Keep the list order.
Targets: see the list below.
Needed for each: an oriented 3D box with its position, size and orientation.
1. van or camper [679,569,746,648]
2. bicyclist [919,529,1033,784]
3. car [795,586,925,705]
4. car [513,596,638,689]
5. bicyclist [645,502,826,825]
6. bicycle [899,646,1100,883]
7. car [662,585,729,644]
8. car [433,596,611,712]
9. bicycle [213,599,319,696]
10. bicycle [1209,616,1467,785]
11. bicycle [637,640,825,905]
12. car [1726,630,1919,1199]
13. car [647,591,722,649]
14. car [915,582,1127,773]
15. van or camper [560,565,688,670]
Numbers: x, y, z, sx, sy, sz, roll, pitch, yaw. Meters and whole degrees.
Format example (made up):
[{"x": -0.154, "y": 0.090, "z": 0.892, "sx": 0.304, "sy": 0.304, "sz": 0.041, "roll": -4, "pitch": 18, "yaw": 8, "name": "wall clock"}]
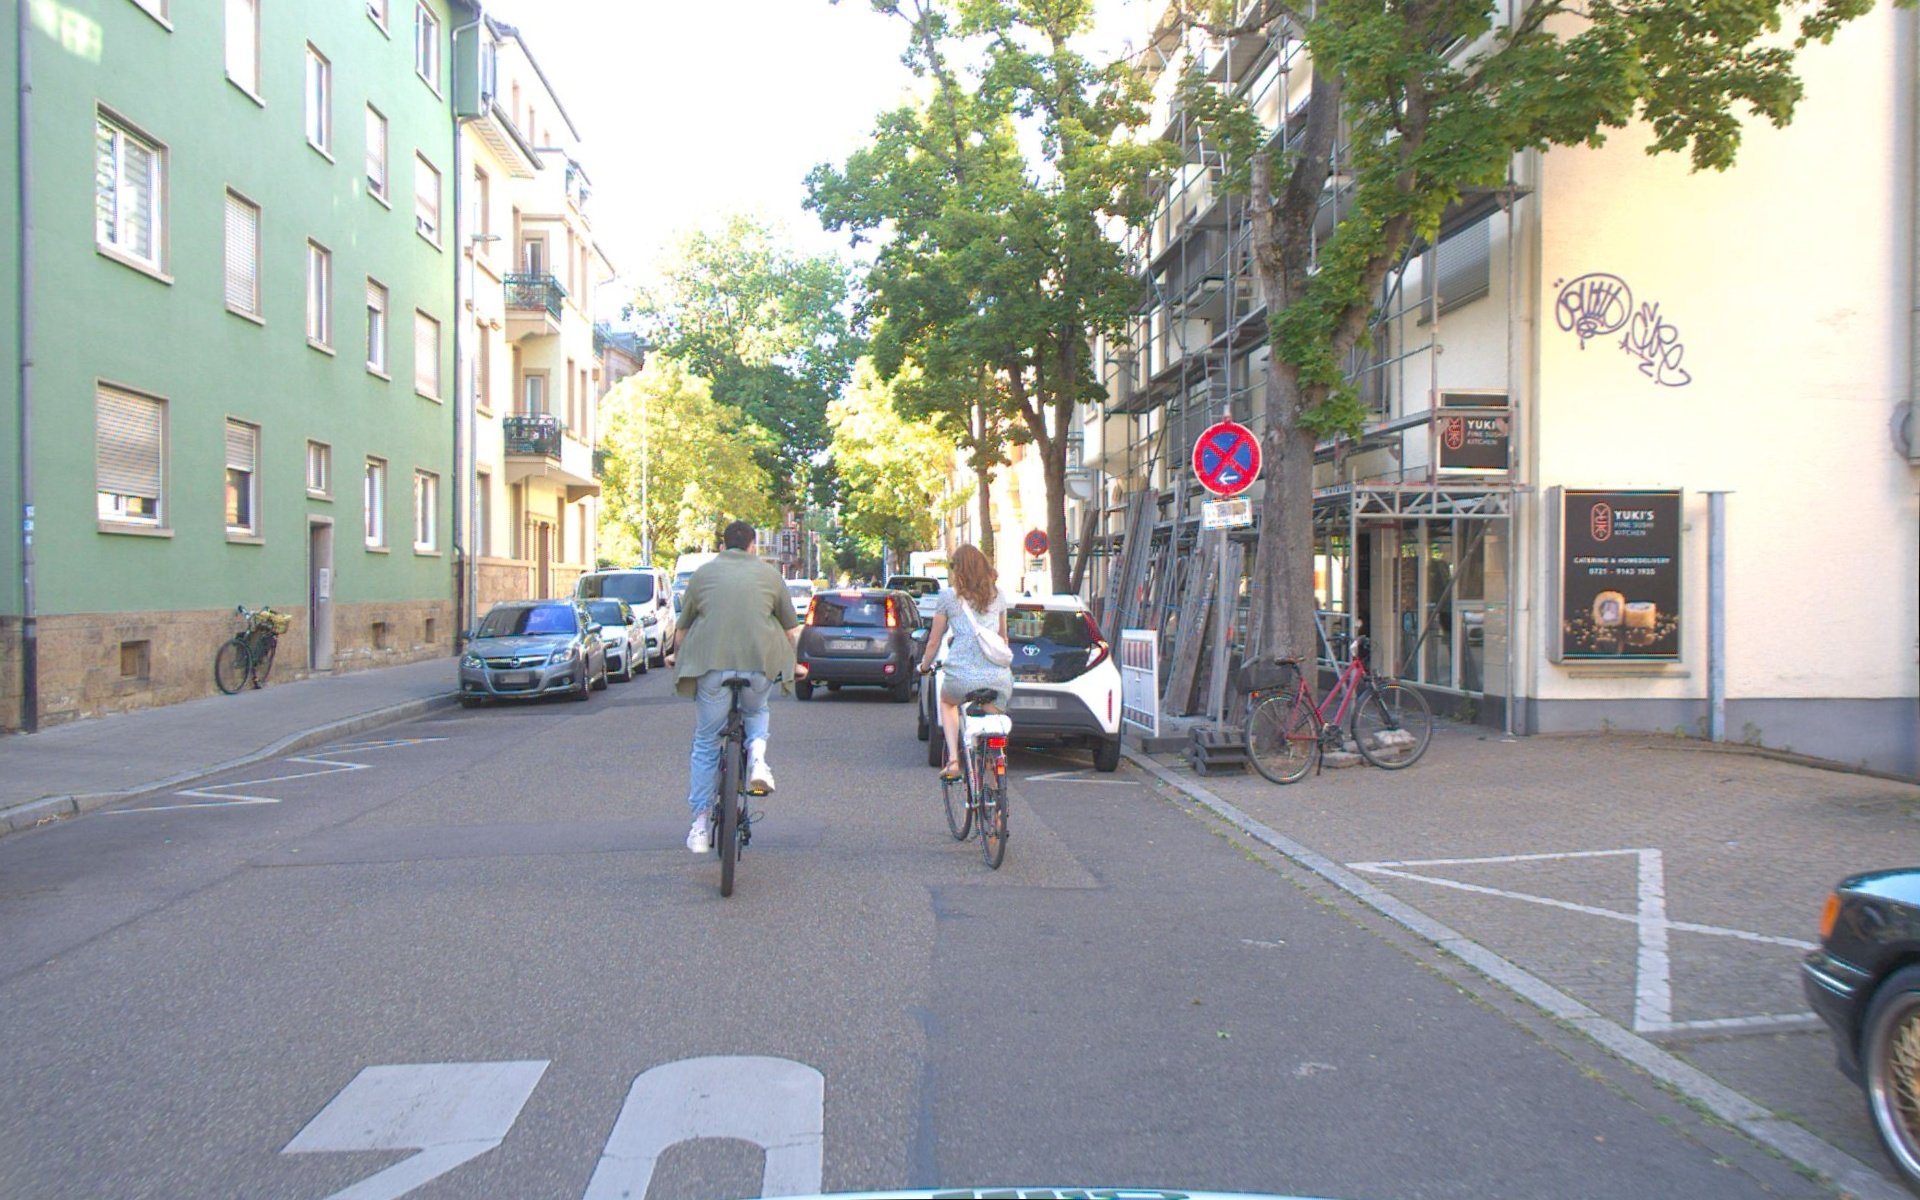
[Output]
[{"x": -8.455, "y": 0.240, "z": 56.798, "sx": 1.955, "sy": 2.597, "sz": 5.018, "roll": 0, "pitch": 1, "yaw": -5, "name": "van or camper"}, {"x": 0.074, "y": 0.338, "z": 9.579, "sx": 0.610, "sy": 1.405, "sz": 0.867, "roll": -1, "pitch": -4, "yaw": -2, "name": "bicyclist"}, {"x": -1.359, "y": 0.588, "z": 23.621, "sx": 1.524, "sy": 1.559, "sz": 3.487, "roll": -1, "pitch": 1, "yaw": 2, "name": "car"}, {"x": -6.715, "y": 0.696, "z": 29.193, "sx": 1.654, "sy": 1.479, "sz": 3.706, "roll": -1, "pitch": 1, "yaw": -5, "name": "car"}, {"x": -1.150, "y": 0.330, "z": 8.634, "sx": 0.864, "sy": 1.589, "sz": 0.867, "roll": 0, "pitch": -3, "yaw": -3, "name": "bicyclist"}, {"x": 0.170, "y": 0.892, "z": 9.725, "sx": 0.823, "sy": 1.169, "sz": 2.229, "roll": 3, "pitch": -1, "yaw": -7, "name": "bicycle"}, {"x": -8.056, "y": 0.398, "z": 50.637, "sx": 1.677, "sy": 1.729, "sz": 3.997, "roll": 0, "pitch": 1, "yaw": -4, "name": "car"}, {"x": -6.284, "y": 0.713, "z": 24.188, "sx": 1.941, "sy": 1.481, "sz": 4.107, "roll": -1, "pitch": 1, "yaw": -7, "name": "car"}, {"x": -9.372, "y": 0.606, "z": 22.430, "sx": 0.540, "sy": 1.198, "sz": 2.277, "roll": 3, "pitch": 0, "yaw": -3, "name": "bicycle"}, {"x": 3.071, "y": 0.777, "z": 13.418, "sx": 1.953, "sy": 1.185, "sz": 0.722, "roll": -3, "pitch": 1, "yaw": -22, "name": "bicycle"}, {"x": -1.153, "y": 0.827, "z": 8.800, "sx": 0.822, "sy": 1.169, "sz": 2.231, "roll": 0, "pitch": 0, "yaw": -4, "name": "bicycle"}, {"x": 3.342, "y": 0.815, "z": 2.869, "sx": 1.674, "sy": 1.412, "sz": 4.566, "roll": 0, "pitch": 0, "yaw": -4, "name": "car"}, {"x": -7.628, "y": 0.517, "z": 46.076, "sx": 1.677, "sy": 1.531, "sz": 3.997, "roll": 0, "pitch": 1, "yaw": -4, "name": "car"}, {"x": 0.475, "y": 0.650, "z": 15.646, "sx": 1.642, "sy": 1.572, "sz": 3.401, "roll": 1, "pitch": 0, "yaw": -4, "name": "car"}, {"x": -7.025, "y": 0.325, "z": 35.071, "sx": 1.954, "sy": 2.049, "sz": 4.908, "roll": -1, "pitch": 0, "yaw": -3, "name": "van or camper"}]
